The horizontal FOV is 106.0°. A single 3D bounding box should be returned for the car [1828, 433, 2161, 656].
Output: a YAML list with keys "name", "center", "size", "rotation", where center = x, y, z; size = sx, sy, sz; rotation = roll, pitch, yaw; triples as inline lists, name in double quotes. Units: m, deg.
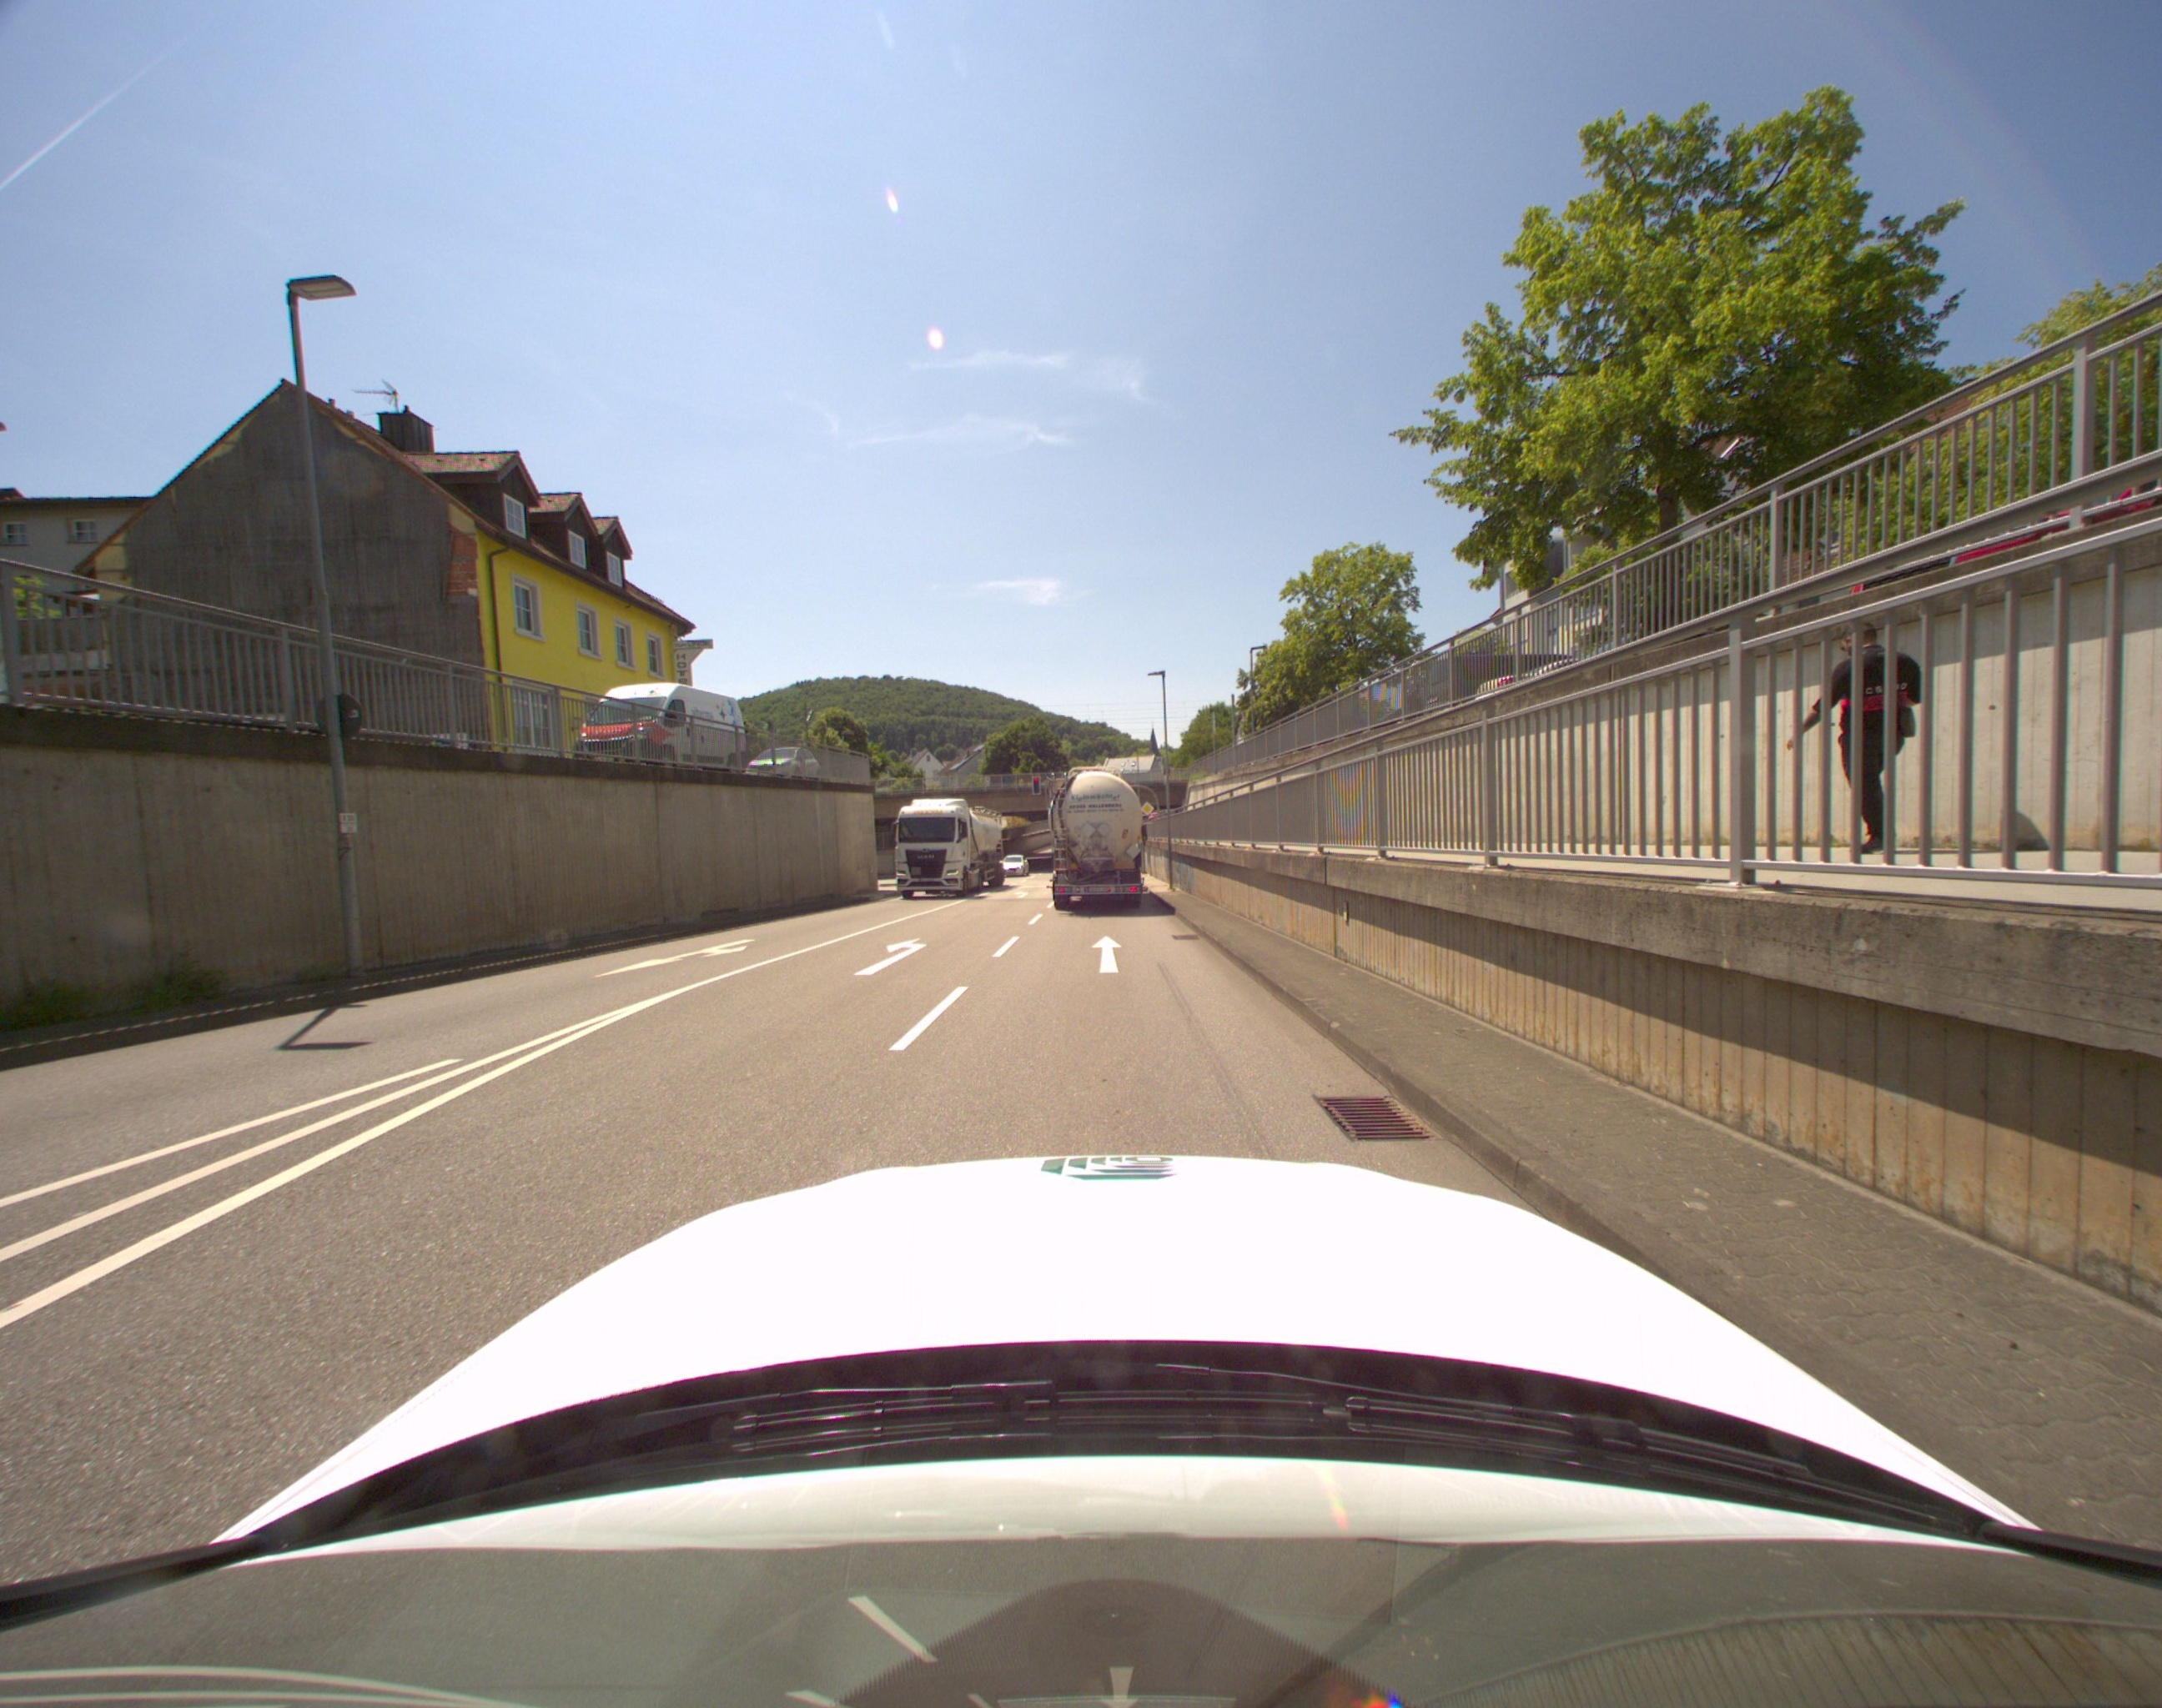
- name: "car"
  center: [10.366, -3.046, 8.155]
  size: [4.188, 1.595, 1.687]
  rotation: [-2, 3, 2]

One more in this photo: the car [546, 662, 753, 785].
- name: "car"
  center: [-10.834, -3.167, 21.127]
  size: [2.057, 2.535, 5.666]
  rotation: [0, 3, 2]

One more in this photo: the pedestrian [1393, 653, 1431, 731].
- name: "pedestrian"
  center: [8.069, -3.939, 19.874]
  size: [0.670, 1.779, 0.595]
  rotation: [-2, 2, 3]

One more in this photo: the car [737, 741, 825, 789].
- name: "car"
  center: [-10.878, -3.194, 29.814]
  size: [1.613, 1.500, 4.046]
  rotation: [-1, 3, 1]

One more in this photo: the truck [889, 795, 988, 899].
- name: "truck"
  center: [-5.739, -0.255, 33.834]
  size: [2.651, 3.860, 6.583]
  rotation: [-1, 0, 2]

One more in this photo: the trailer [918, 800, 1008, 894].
- name: "trailer"
  center: [-5.511, -0.281, 39.702]
  size: [2.600, 3.964, 9.350]
  rotation: [-1, 0, 2]

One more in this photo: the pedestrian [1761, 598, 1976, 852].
- name: "pedestrian"
  center: [5.964, -0.928, 6.222]
  size: [0.833, 1.782, 0.789]
  rotation: [-2, 0, 1]

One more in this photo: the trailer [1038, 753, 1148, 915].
- name: "trailer"
  center: [0.581, -0.489, 27.440]
  size: [2.724, 4.064, 13.320]
  rotation: [-1, 0, 2]

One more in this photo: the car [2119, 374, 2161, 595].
- name: "car"
  center: [10.297, -2.897, 5.551]
  size: [4.188, 1.595, 1.687]
  rotation: [-2, 3, 2]

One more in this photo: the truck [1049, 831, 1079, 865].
- name: "truck"
  center: [-1.817, -0.647, 92.455]
  size: [2.677, 3.663, 7.377]
  rotation: [-1, 0, 4]

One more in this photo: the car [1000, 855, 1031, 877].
- name: "car"
  center: [-4.592, 0.796, 57.345]
  size: [1.675, 1.440, 4.096]
  rotation: [0, 0, 2]

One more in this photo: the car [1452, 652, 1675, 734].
- name: "car"
  center: [10.474, -3.487, 17.887]
  size: [3.890, 1.367, 1.687]
  rotation: [-2, 3, 2]

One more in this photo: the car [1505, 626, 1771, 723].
- name: "car"
  center: [10.420, -3.354, 15.447]
  size: [3.890, 1.367, 1.687]
  rotation: [-2, 3, 2]

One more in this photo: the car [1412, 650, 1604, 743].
- name: "car"
  center: [10.562, -3.874, 20.320]
  size: [3.890, 1.884, 1.687]
  rotation: [-2, 3, 2]
